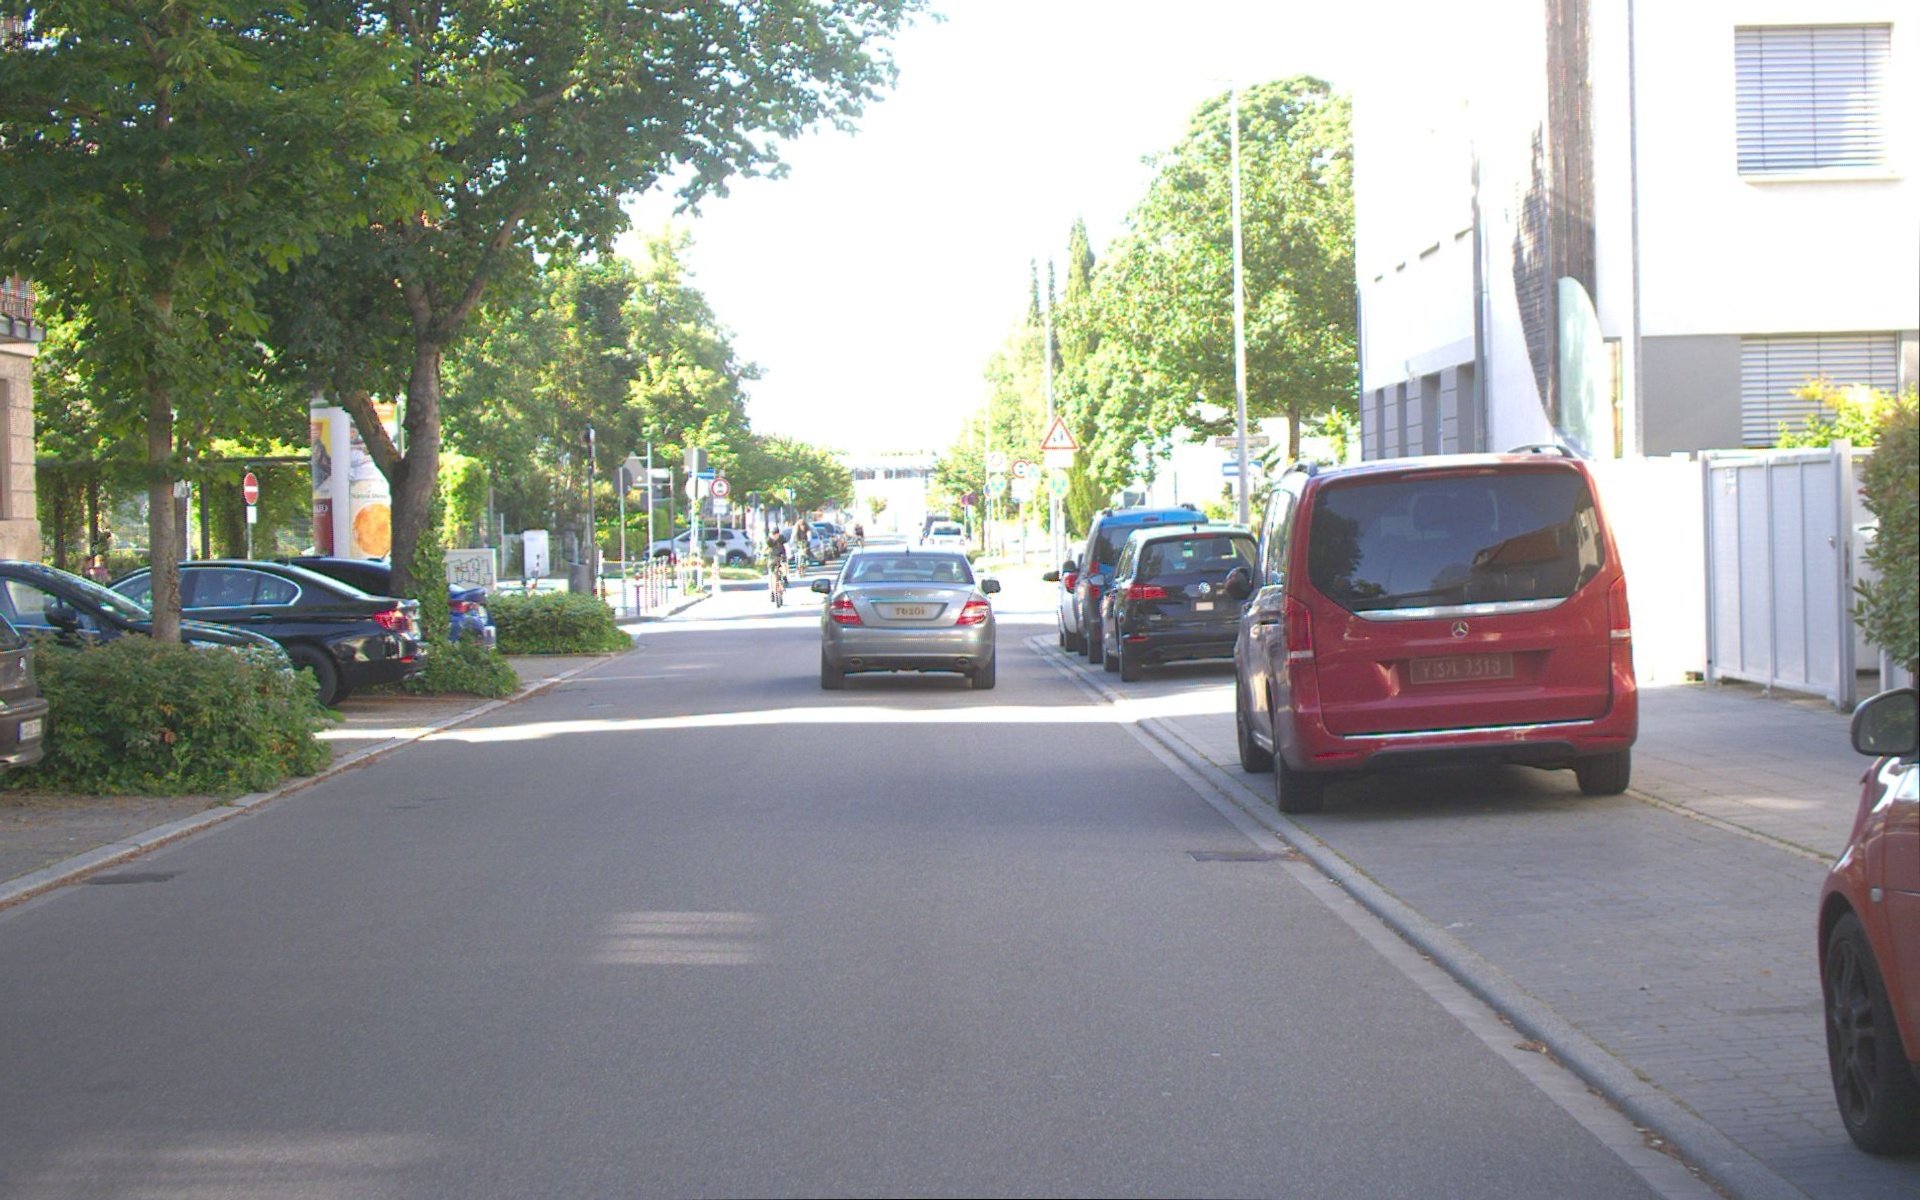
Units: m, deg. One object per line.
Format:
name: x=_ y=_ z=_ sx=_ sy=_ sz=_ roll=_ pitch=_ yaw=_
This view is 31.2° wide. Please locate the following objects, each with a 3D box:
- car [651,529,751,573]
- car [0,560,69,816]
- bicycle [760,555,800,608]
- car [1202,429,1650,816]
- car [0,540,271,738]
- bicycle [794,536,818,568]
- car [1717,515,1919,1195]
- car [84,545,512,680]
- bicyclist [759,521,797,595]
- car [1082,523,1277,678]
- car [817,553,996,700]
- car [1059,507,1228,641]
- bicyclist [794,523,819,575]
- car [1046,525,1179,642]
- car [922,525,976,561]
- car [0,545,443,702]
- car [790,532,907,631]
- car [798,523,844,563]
car: x=-9.339 y=-1.767 z=123.871 sx=3.493 sy=1.528 sz=1.645 roll=-1 pitch=1 yaw=-7
car: x=-7.538 y=0.494 z=20.528 sx=3.986 sy=1.416 sz=1.771 roll=0 pitch=2 yaw=-1
bicycle: x=-3.831 y=-0.407 z=73.307 sx=0.719 sy=1.075 sz=1.891 roll=-2 pitch=1 yaw=0
car: x=2.554 y=0.088 z=20.095 sx=1.871 sy=1.898 sz=5.197 roll=-2 pitch=1 yaw=0
car: x=-7.639 y=0.284 z=27.155 sx=4.171 sy=1.495 sz=2.000 roll=1 pitch=0 yaw=-8
bicycle: x=-4.552 y=-1.426 z=101.674 sx=0.589 sy=0.928 sz=1.850 roll=-1 pitch=1 yaw=0
car: x=2.868 y=0.530 z=7.497 sx=1.592 sy=1.475 sz=3.247 roll=-3 pitch=1 yaw=-1
car: x=-7.341 y=0.131 z=38.454 sx=4.473 sy=1.474 sz=1.869 roll=0 pitch=0 yaw=-2
bicyclist: x=-3.874 y=-0.898 z=73.320 sx=0.721 sy=1.531 sz=1.137 roll=-2 pitch=1 yaw=-1
car: x=2.290 y=-0.037 z=36.720 sx=1.737 sy=1.526 sz=4.179 roll=-1 pitch=1 yaw=-1
car: x=-0.516 y=0.252 z=35.597 sx=1.726 sy=1.415 sz=3.960 roll=1 pitch=0 yaw=0
car: x=2.217 y=-0.302 z=42.512 sx=1.682 sy=1.430 sz=4.266 roll=-5 pitch=0 yaw=-1
bicyclist: x=-4.542 y=-1.506 z=101.661 sx=0.680 sy=1.504 sz=0.655 roll=-1 pitch=1 yaw=1
car: x=2.042 y=-0.224 z=46.944 sx=1.564 sy=1.406 sz=3.729 roll=-5 pitch=0 yaw=0
car: x=-0.437 y=-2.184 z=131.621 sx=1.722 sy=1.325 sz=4.001 roll=-1 pitch=1 yaw=-5
car: x=-7.355 y=0.216 z=33.278 sx=4.473 sy=1.474 sz=1.869 roll=0 pitch=0 yaw=-2
car: x=-1.707 y=-0.281 z=52.976 sx=1.707 sy=1.443 sz=4.203 roll=1 pitch=0 yaw=-1
car: x=-6.194 y=-2.495 z=152.379 sx=1.787 sy=1.527 sz=4.000 roll=-3 pitch=-1 yaw=-5
